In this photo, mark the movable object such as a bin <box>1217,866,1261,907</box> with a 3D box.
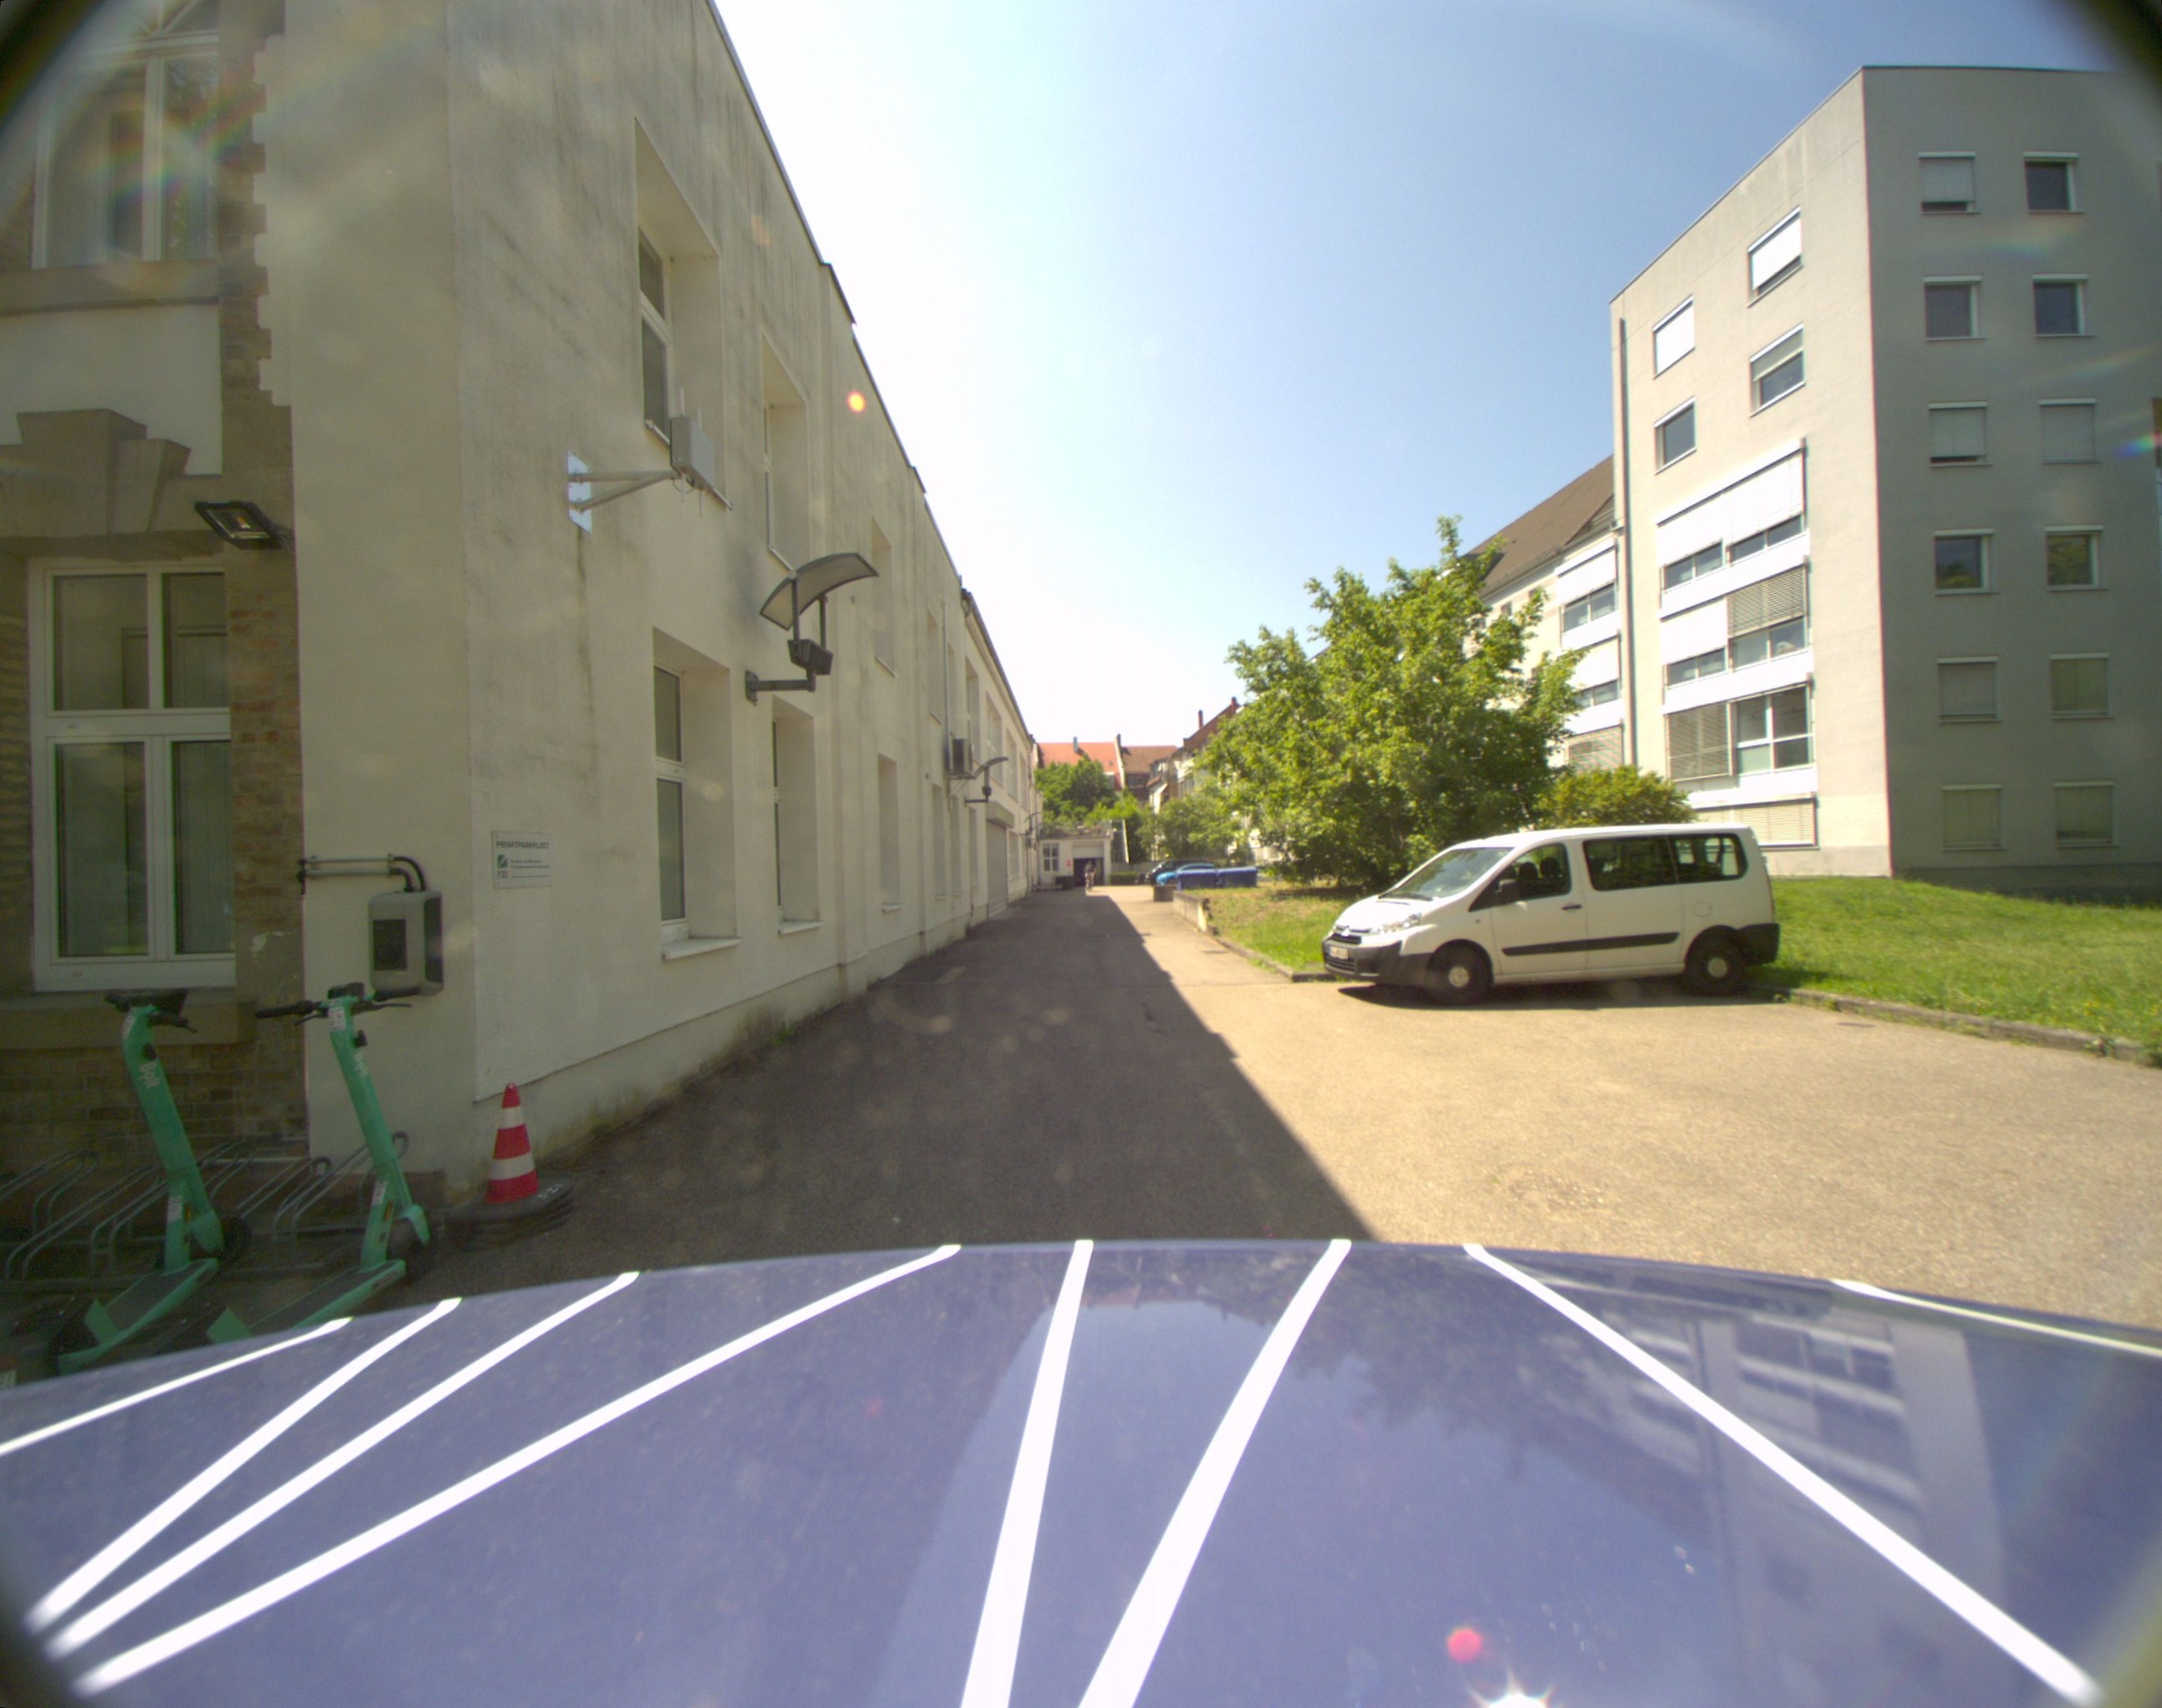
[{"bbox_3d":[5.420,1.095,26.116,1.257,1.320,1.104,-2,0,0],"label":"movable object such as a bin"}]

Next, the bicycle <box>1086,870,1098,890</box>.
[{"bbox_3d":[0.640,1.571,45.927,0.645,1.167,1.904,-2,0,-1],"label":"bicycle"}]

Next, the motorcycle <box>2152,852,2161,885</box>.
[{"bbox_3d":[40.417,0.521,28.153,2.308,1.161,0.698,-2,0,-39],"label":"motorcycle"}]

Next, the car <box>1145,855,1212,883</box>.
[{"bbox_3d":[6.998,1.049,54.669,4.449,1.821,1.999,-2,0,-3],"label":"car"}]

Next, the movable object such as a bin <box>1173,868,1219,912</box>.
[{"bbox_3d":[3.672,1.136,24.292,1.257,1.320,1.104,-2,0,0],"label":"movable object such as a bin"}]

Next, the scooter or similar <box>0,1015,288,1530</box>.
[{"bbox_3d":[-3.268,1.236,2.404,0.465,1.167,1.254,-2,0,-17],"label":"scooter or similar"}]

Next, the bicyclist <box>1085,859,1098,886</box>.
[{"bbox_3d":[0.621,1.109,45.935,0.724,1.599,0.978,-2,0,-1],"label":"bicyclist"}]

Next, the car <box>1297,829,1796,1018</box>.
[{"bbox_3d":[5.306,0.738,9.088,4.802,1.899,2.000,-1,-1,-5],"label":"car"}]

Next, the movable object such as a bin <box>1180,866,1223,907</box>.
[{"bbox_3d":[4.107,1.108,26.072,1.257,1.320,1.104,-2,0,0],"label":"movable object such as a bin"}]

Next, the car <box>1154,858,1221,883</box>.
[{"bbox_3d":[7.223,1.115,51.868,4.168,1.544,1.859,-1,0,-5],"label":"car"}]

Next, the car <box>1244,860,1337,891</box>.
[{"bbox_3d":[10.081,1.031,36.771,3.998,1.428,1.711,-1,0,-4],"label":"car"}]

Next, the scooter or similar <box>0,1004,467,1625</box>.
[{"bbox_3d":[-2.673,1.203,2.410,0.465,1.167,1.356,-2,0,-8],"label":"scooter or similar"}]

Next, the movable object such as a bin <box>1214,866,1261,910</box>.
[{"bbox_3d":[4.993,1.065,24.305,1.257,1.320,1.104,-2,0,0],"label":"movable object such as a bin"}]
